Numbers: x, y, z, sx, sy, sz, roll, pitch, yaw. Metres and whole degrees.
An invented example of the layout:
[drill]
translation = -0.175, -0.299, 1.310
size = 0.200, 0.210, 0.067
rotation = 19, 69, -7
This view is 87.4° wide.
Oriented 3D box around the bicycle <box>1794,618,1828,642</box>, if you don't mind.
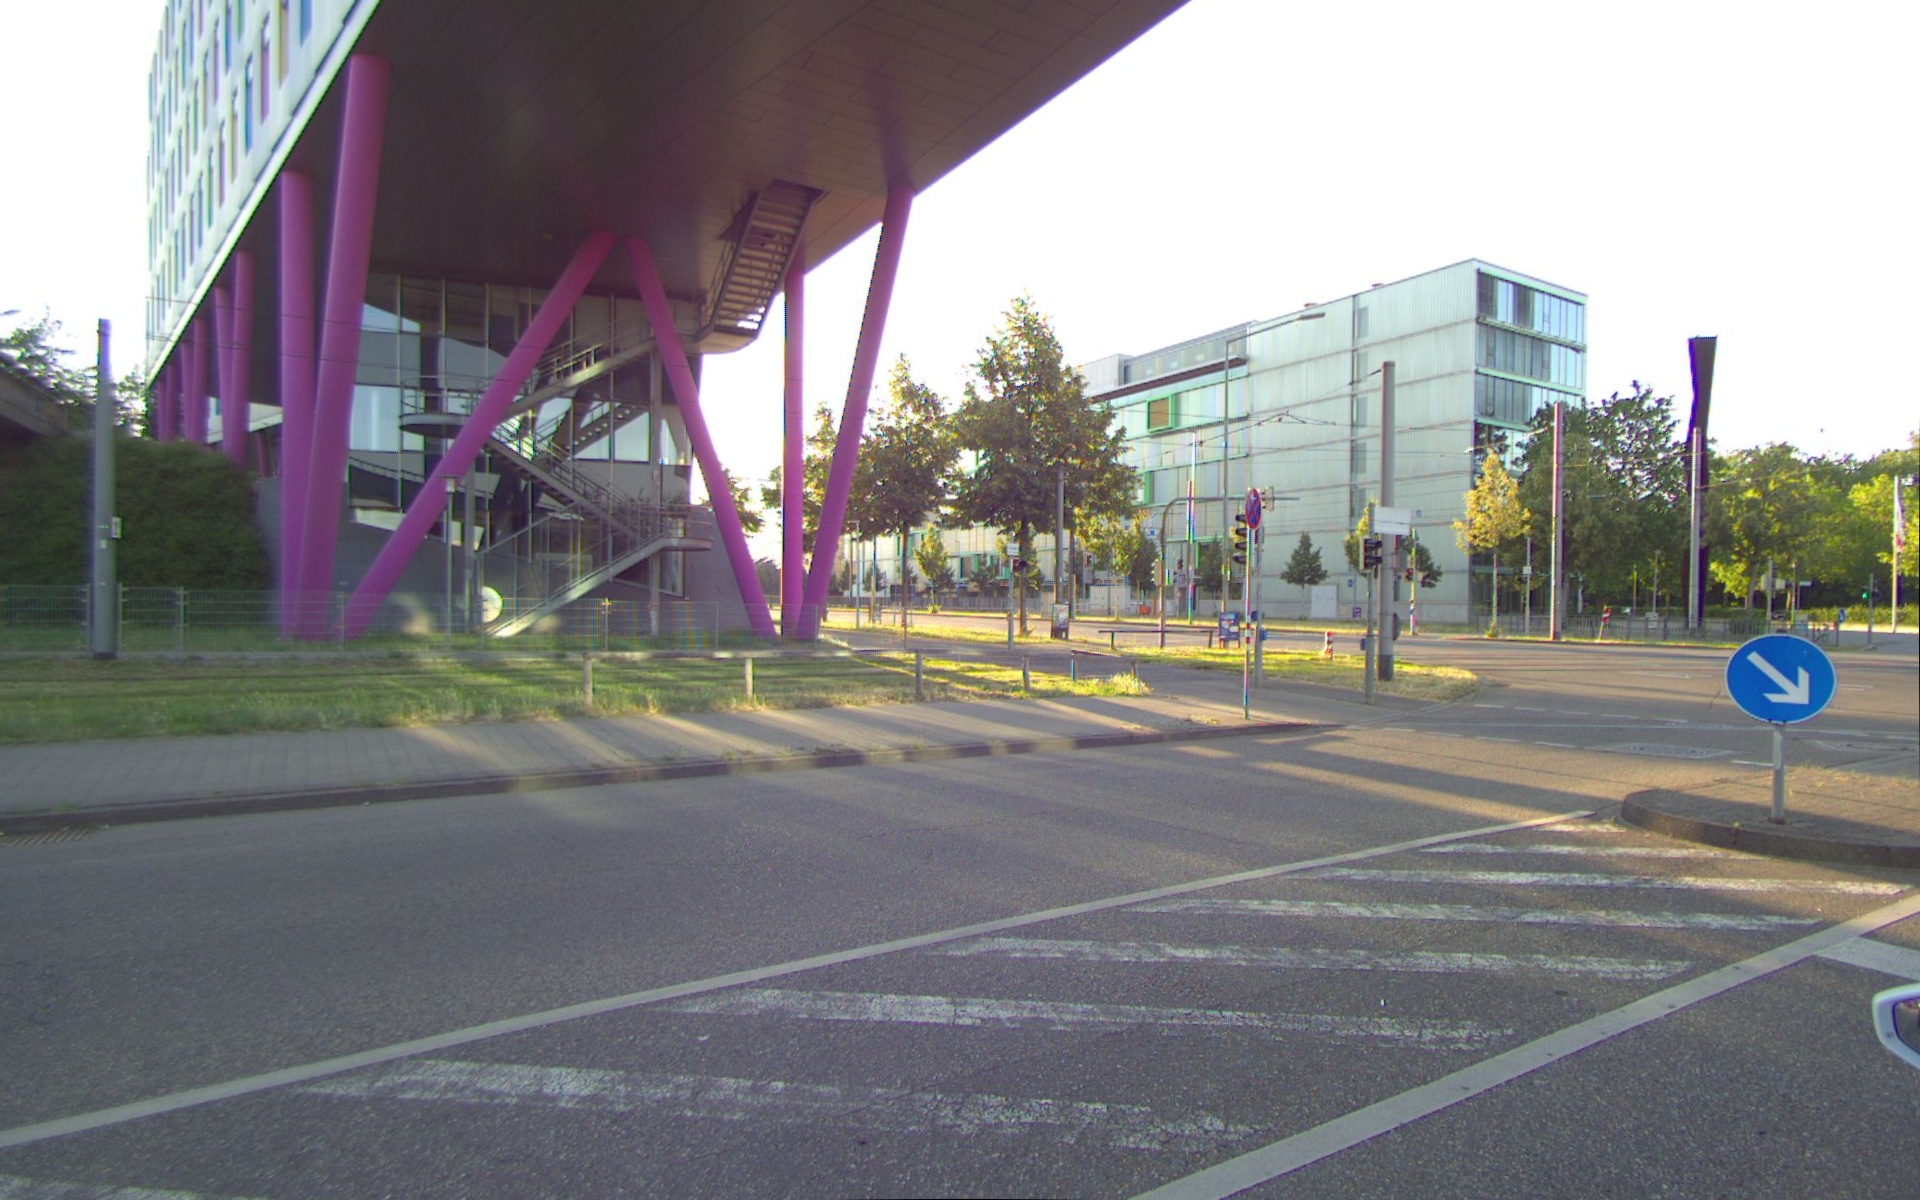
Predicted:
[bicycle]
translation = 43.796, 1.533, 51.687
size = 2.367, 1.151, 0.695
rotation = 1, 0, -33
